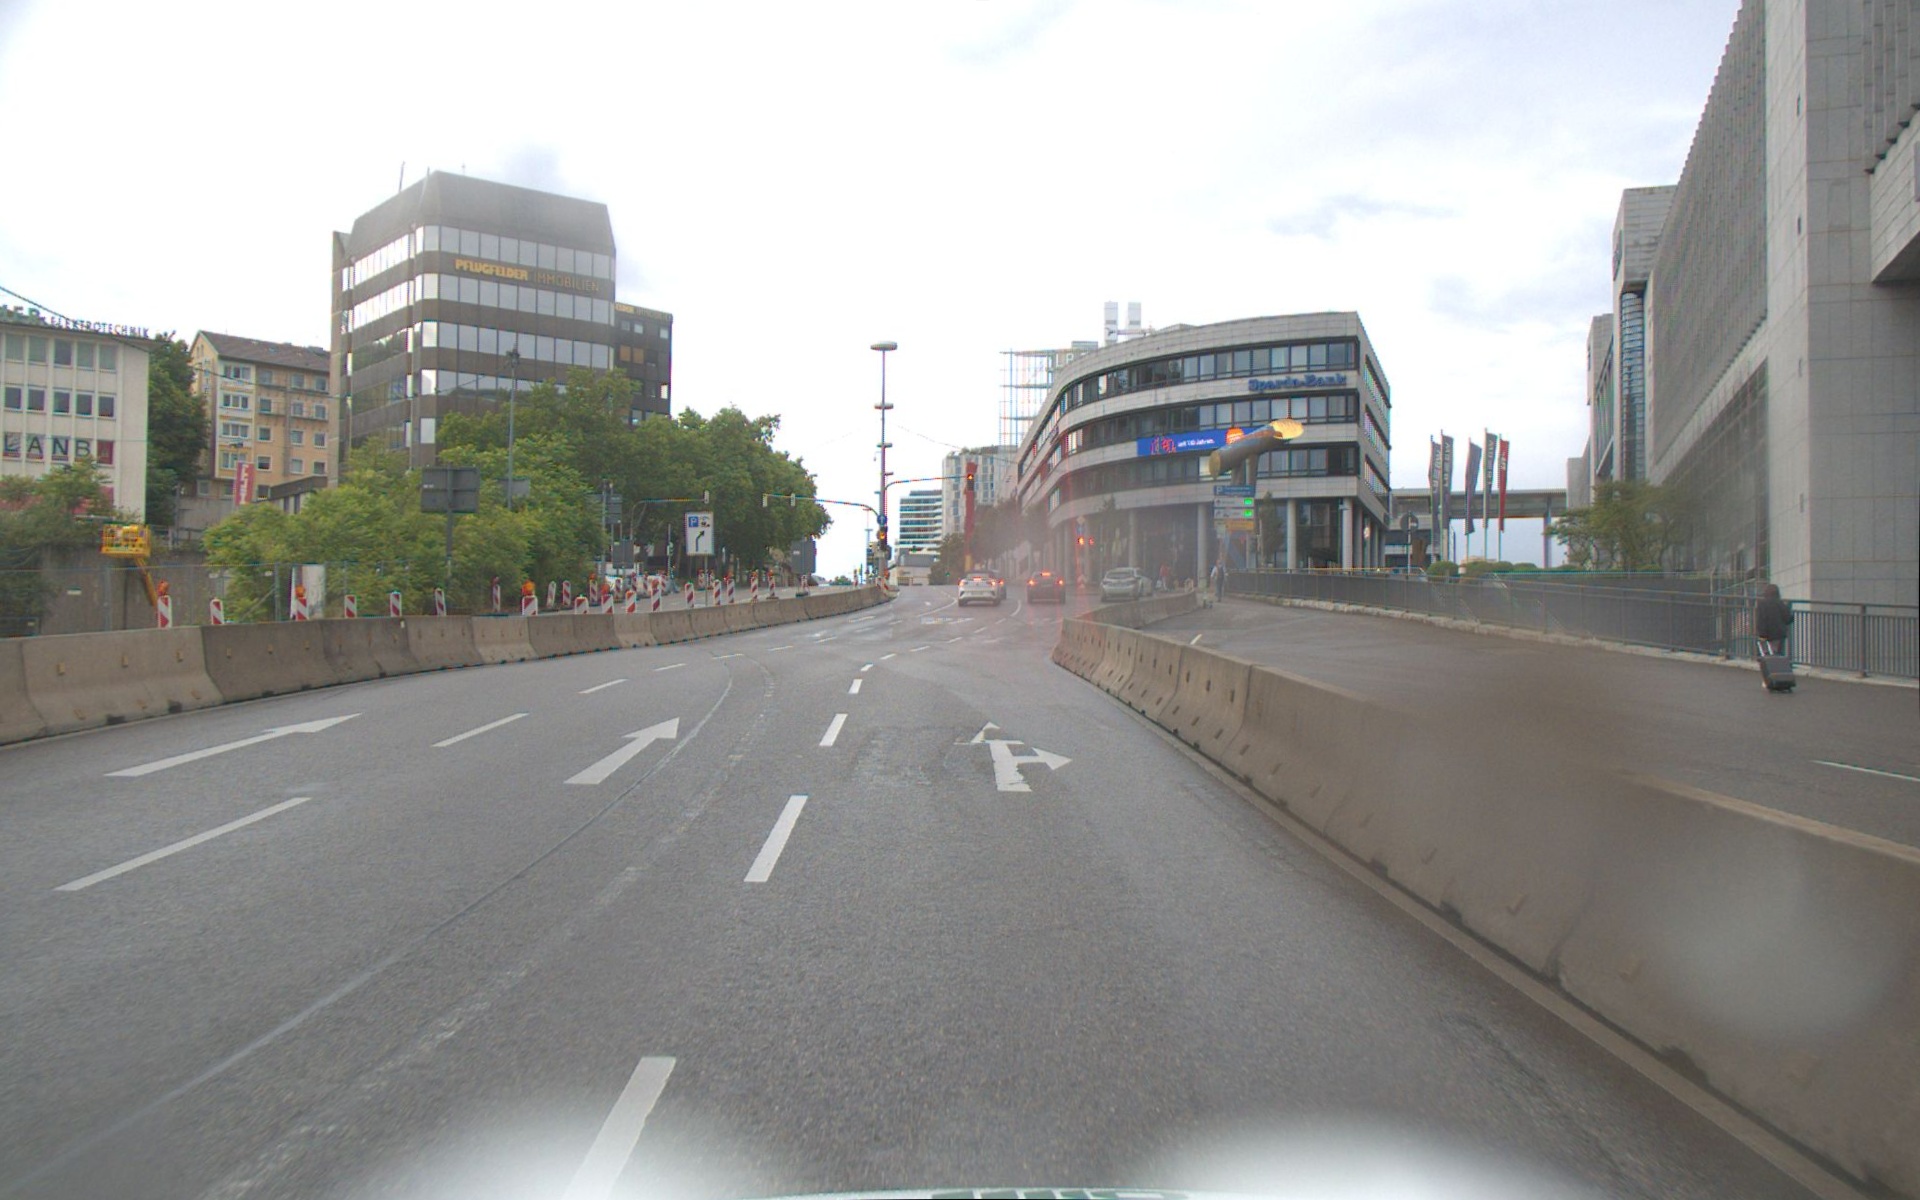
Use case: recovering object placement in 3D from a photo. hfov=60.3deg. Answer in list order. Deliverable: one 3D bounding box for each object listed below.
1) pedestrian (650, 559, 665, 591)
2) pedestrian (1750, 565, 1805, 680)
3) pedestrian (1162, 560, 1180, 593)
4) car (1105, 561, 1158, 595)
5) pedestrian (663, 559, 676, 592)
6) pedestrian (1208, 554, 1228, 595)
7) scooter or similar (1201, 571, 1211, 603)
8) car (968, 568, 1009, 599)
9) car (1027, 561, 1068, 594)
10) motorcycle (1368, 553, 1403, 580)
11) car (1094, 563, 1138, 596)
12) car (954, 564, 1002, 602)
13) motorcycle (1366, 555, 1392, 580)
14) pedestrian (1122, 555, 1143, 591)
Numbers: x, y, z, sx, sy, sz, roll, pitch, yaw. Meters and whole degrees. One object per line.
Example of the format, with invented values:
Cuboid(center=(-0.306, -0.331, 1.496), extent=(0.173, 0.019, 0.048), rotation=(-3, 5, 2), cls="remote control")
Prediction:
Cuboid(center=(-18.468, -1.508, 100.942), extent=(0.745, 1.956, 0.742), rotation=(0, -1, 1), cls="pedestrian")
Cuboid(center=(12.223, 0.329, 24.738), extent=(0.715, 1.681, 1.060), rotation=(0, 0, 26), cls="pedestrian")
Cuboid(center=(12.633, -1.412, 98.913), extent=(0.823, 1.938, 0.860), rotation=(-1, -1, 24), cls="pedestrian")
Cuboid(center=(8.710, -1.128, 83.734), extent=(1.734, 1.662, 4.583), rotation=(0, 1, 18), cls="car")
Cuboid(center=(-17.724, -1.493, 100.842), extent=(0.658, 1.935, 0.776), rotation=(0, -1, 1), cls="pedestrian")
Cuboid(center=(11.075, -1.101, 71.072), extent=(0.715, 1.741, 0.843), rotation=(0, -1, -2), cls="pedestrian")
Cuboid(center=(9.169, -0.477, 61.687), extent=(0.341, 1.183, 0.573), rotation=(0, 0, 13), cls="scooter or similar")
Cuboid(center=(1.380, -0.841, 81.811), extent=(1.705, 1.468, 3.997), rotation=(0, 1, -4), cls="car")
Cuboid(center=(3.994, -1.029, 75.893), extent=(1.718, 1.432, 4.228), rotation=(1, 0, 2), cls="car")
Cuboid(center=(22.491, -1.766, 87.424), extent=(1.692, 1.377, 0.605), rotation=(-1, 1, -9), cls="motorcycle")
Cuboid(center=(7.253, -0.923, 77.079), extent=(1.666, 1.476, 4.616), rotation=(0, 0, 1), cls="car")
Cuboid(center=(0.837, -0.772, 73.147), extent=(1.923, 1.575, 4.221), rotation=(0, 1, 3), cls="car")
Cuboid(center=(22.318, -1.721, 88.141), extent=(1.218, 1.292, 0.619), rotation=(-1, 1, -9), cls="motorcycle")
Cuboid(center=(10.207, -1.594, 97.979), extent=(0.841, 2.135, 0.897), rotation=(1, 1, -25), cls="pedestrian")
